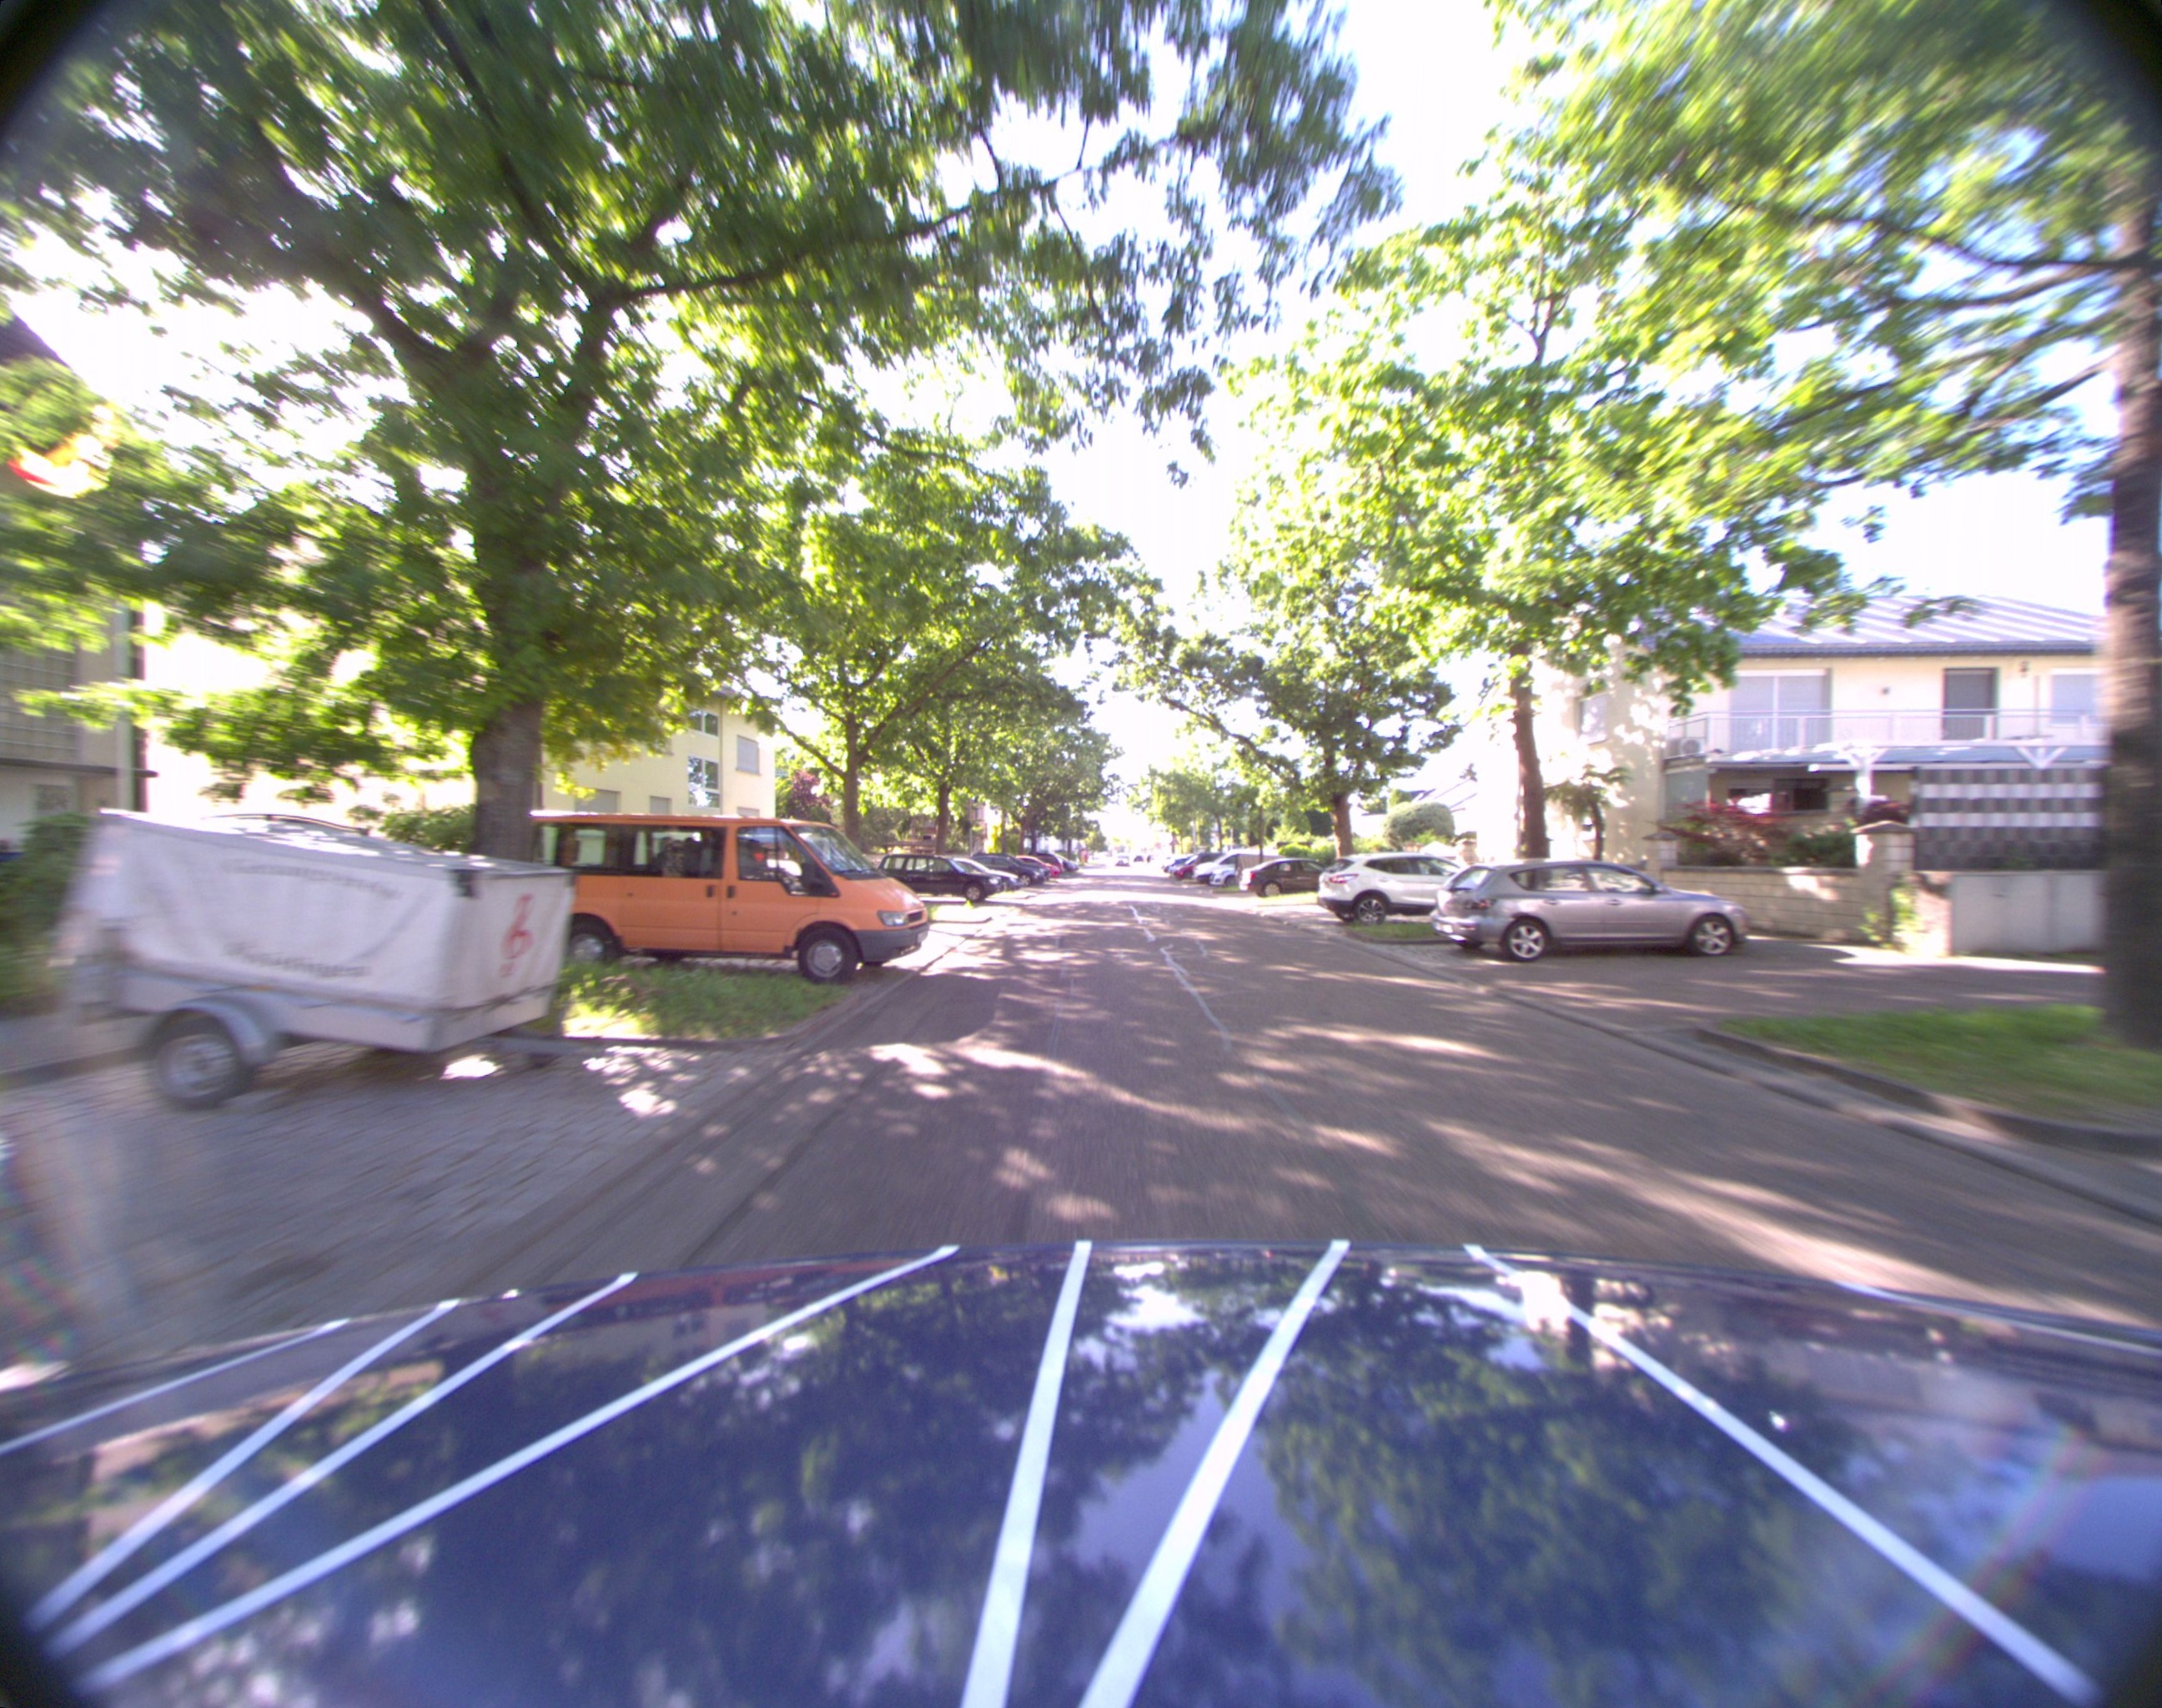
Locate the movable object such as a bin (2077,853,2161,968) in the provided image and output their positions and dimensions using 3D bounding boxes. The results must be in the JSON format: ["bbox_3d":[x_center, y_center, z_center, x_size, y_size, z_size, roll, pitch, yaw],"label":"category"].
[{"bbox_3d":[14.387,0.720,9.740,1.499,1.426,1.275,0,2,1],"label":"movable object such as a bin"}]

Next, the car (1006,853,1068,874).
[{"bbox_3d":[-3.332,0.713,57.696,4.513,1.437,1.838,1,1,3],"label":"car"}]

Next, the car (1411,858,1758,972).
[{"bbox_3d":[7.448,0.862,11.534,4.044,1.415,1.810,-2,1,0],"label":"car"}]

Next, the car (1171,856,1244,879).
[{"bbox_3d":[8.200,0.874,49.609,4.487,1.491,1.837,0,1,3],"label":"car"}]

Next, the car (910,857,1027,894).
[{"bbox_3d":[-4.547,0.863,31.101,4.437,1.323,1.691,2,1,4],"label":"car"}]

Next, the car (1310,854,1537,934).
[{"bbox_3d":[7.436,0.848,16.823,4.197,1.558,1.792,-2,0,3],"label":"car"}]

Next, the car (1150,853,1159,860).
[{"bbox_3d":[15.919,0.458,164.244,1.764,1.469,3.852,1,0,6],"label":"car"}]

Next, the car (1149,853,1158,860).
[{"bbox_3d":[14.757,0.523,154.241,1.764,1.390,3.852,1,0,6],"label":"car"}]

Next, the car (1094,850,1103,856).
[{"bbox_3d":[4.348,-0.280,187.765,1.943,1.412,4.001,0,1,5],"label":"car"}]

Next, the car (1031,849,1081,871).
[{"bbox_3d":[-2.175,0.513,66.458,4.221,1.771,1.789,2,1,3],"label":"car"}]

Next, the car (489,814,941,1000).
[{"bbox_3d":[-4.444,0.609,9.836,4.830,2.071,2.086,1,1,1],"label":"car"}]

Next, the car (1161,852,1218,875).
[{"bbox_3d":[8.458,0.749,59.632,4.220,1.714,1.761,-1,1,2],"label":"car"}]

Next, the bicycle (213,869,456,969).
[{"bbox_3d":[-10.005,0.860,10.209,2.865,1.230,0.468,1,1,2],"label":"bicycle"}]

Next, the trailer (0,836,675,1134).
[{"bbox_3d":[-4.661,0.760,5.134,2.954,1.654,1.614,2,1,-5],"label":"trailer"}]

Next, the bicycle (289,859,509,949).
[{"bbox_3d":[-10.017,0.722,11.189,2.865,1.230,0.468,1,2,2],"label":"bicycle"}]

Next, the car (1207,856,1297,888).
[{"bbox_3d":[8.292,0.879,37.149,3.997,1.507,1.690,0,1,-2],"label":"car"}]

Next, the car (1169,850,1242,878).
[{"bbox_3d":[8.483,0.703,52.117,4.684,1.758,1.795,-2,0,1],"label":"car"}]

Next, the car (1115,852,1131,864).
[{"bbox_3d":[5.330,0.517,95.308,1.877,1.469,3.852,1,0,5],"label":"car"}]

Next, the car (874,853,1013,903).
[{"bbox_3d":[-4.621,0.795,25.947,4.348,1.551,1.867,1,1,0],"label":"car"}]

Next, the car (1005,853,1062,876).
[{"bbox_3d":[-3.288,0.722,53.043,3.786,1.476,1.755,1,2,3],"label":"car"}]

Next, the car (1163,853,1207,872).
[{"bbox_3d":[9.541,0.736,69.959,3.947,1.604,1.706,-2,0,5],"label":"car"}]

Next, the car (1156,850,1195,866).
[{"bbox_3d":[10.468,0.421,83.998,3.964,1.565,1.921,-1,1,-3],"label":"car"}]

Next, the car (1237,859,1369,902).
[{"bbox_3d":[7.811,0.905,27.018,4.219,1.463,1.691,0,1,4],"label":"car"}]

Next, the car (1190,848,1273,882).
[{"bbox_3d":[8.372,0.618,42.529,4.249,1.760,1.967,-1,1,-1],"label":"car"}]

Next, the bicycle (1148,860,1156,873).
[{"bbox_3d":[6.201,1.069,66.249,0.598,1.052,1.986,3,1,3],"label":"bicycle"}]

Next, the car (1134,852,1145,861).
[{"bbox_3d":[10.523,0.457,136.193,1.741,1.532,3.948,1,0,6],"label":"car"}]

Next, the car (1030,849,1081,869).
[{"bbox_3d":[-2.298,0.439,69.412,4.513,1.670,1.879,3,1,2],"label":"car"}]

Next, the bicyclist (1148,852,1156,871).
[{"bbox_3d":[6.221,0.650,66.253,0.597,1.664,0.975,3,1,3],"label":"bicyclist"}]

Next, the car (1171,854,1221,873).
[{"bbox_3d":[9.599,0.810,63.853,4.010,1.506,1.796,0,0,4],"label":"car"}]

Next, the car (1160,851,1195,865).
[{"bbox_3d":[10.382,0.390,81.849,3.522,1.487,1.708,0,0,1],"label":"car"}]

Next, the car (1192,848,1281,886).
[{"bbox_3d":[8.104,0.667,39.832,4.247,1.933,2.000,1,1,-1],"label":"car"}]

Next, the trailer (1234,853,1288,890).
[{"bbox_3d":[8.222,0.780,34.815,2.240,1.664,1.475,0,0,6],"label":"trailer"}]

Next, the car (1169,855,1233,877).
[{"bbox_3d":[8.659,0.842,55.029,4.282,1.416,1.723,-1,0,-1],"label":"car"}]

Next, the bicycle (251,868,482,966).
[{"bbox_3d":[-10.039,0.872,10.707,2.865,1.230,0.468,2,2,2],"label":"bicycle"}]

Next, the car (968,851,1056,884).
[{"bbox_3d":[-3.711,0.692,41.427,4.584,1.637,1.838,2,1,1],"label":"car"}]

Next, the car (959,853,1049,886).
[{"bbox_3d":[-3.860,0.751,38.523,4.330,1.521,1.841,2,0,1],"label":"car"}]
